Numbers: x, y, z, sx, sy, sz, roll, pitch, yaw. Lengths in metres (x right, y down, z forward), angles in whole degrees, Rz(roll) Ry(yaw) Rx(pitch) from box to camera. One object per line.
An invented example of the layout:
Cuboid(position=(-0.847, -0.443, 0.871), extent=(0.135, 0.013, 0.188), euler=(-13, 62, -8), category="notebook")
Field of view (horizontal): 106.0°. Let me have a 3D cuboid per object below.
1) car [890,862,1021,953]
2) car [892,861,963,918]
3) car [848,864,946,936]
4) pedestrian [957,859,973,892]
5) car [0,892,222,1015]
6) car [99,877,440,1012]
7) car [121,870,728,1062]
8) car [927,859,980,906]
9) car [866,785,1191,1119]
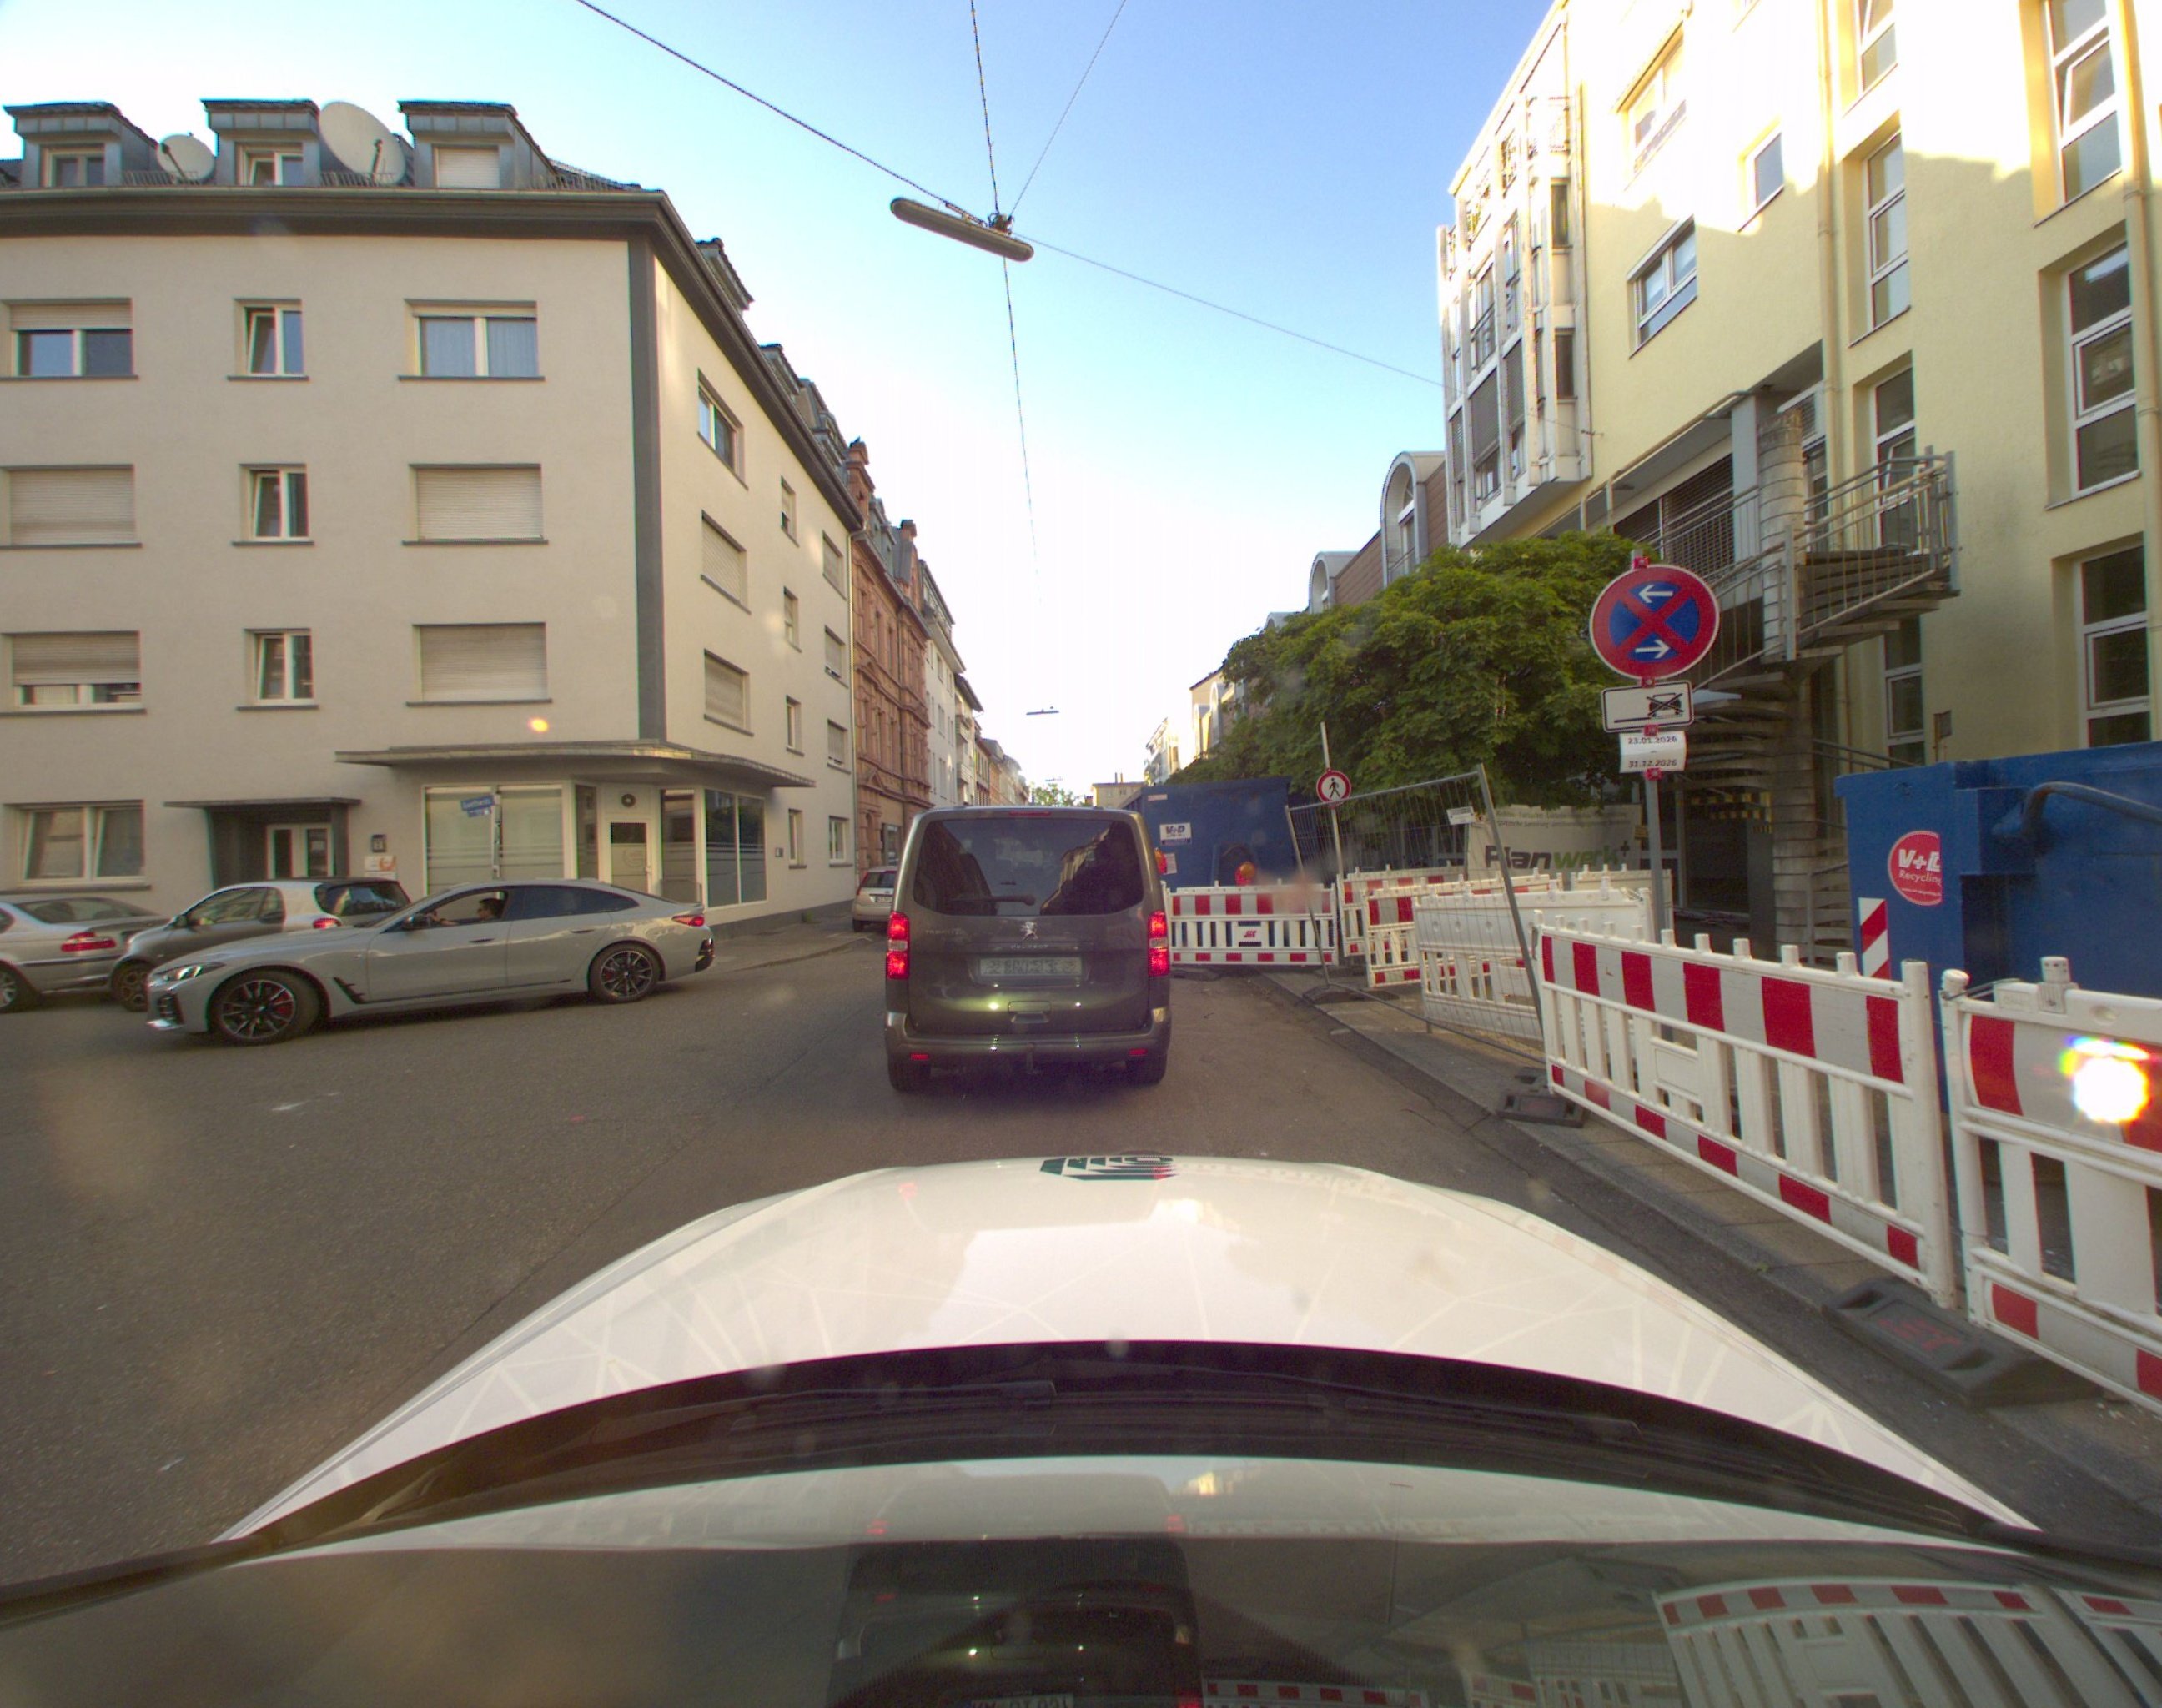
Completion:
Cuboid(position=(-2.251, 0.938, 15.434), extent=(1.648, 1.460, 3.421), euler=(-3, -2, 4), category="car")
Cuboid(position=(-4.511, 1.015, 24.365), extent=(1.653, 1.525, 3.412), euler=(3, -1, -4), category="car")
Cuboid(position=(-4.200, 1.006, 19.046), extent=(1.653, 1.460, 3.412), euler=(3, -1, -4), category="car")
Cuboid(position=(-5.988, 1.097, 42.082), extent=(0.739, 1.664, 0.702), euler=(-2, 0, -5), category="pedestrian")
Cuboid(position=(-14.296, 1.287, 10.680), extent=(4.193, 1.403, 1.602), euler=(-1, 0, -3), category="car")
Cuboid(position=(-10.322, 1.102, 10.533), extent=(2.778, 1.540, 1.593), euler=(-1, 0, -1), category="car")
Cuboid(position=(-6.772, 0.996, 9.134), extent=(4.834, 1.451, 1.912), euler=(-2, 0, -37), category="car")
Cuboid(position=(-4.878, 1.063, 31.459), extent=(1.663, 1.666, 3.086), euler=(3, -1, -4), category="car")
Cuboid(position=(-0.445, 0.584, 6.854), extent=(1.862, 1.886, 4.228), euler=(-1, -1, -4), category="car")
